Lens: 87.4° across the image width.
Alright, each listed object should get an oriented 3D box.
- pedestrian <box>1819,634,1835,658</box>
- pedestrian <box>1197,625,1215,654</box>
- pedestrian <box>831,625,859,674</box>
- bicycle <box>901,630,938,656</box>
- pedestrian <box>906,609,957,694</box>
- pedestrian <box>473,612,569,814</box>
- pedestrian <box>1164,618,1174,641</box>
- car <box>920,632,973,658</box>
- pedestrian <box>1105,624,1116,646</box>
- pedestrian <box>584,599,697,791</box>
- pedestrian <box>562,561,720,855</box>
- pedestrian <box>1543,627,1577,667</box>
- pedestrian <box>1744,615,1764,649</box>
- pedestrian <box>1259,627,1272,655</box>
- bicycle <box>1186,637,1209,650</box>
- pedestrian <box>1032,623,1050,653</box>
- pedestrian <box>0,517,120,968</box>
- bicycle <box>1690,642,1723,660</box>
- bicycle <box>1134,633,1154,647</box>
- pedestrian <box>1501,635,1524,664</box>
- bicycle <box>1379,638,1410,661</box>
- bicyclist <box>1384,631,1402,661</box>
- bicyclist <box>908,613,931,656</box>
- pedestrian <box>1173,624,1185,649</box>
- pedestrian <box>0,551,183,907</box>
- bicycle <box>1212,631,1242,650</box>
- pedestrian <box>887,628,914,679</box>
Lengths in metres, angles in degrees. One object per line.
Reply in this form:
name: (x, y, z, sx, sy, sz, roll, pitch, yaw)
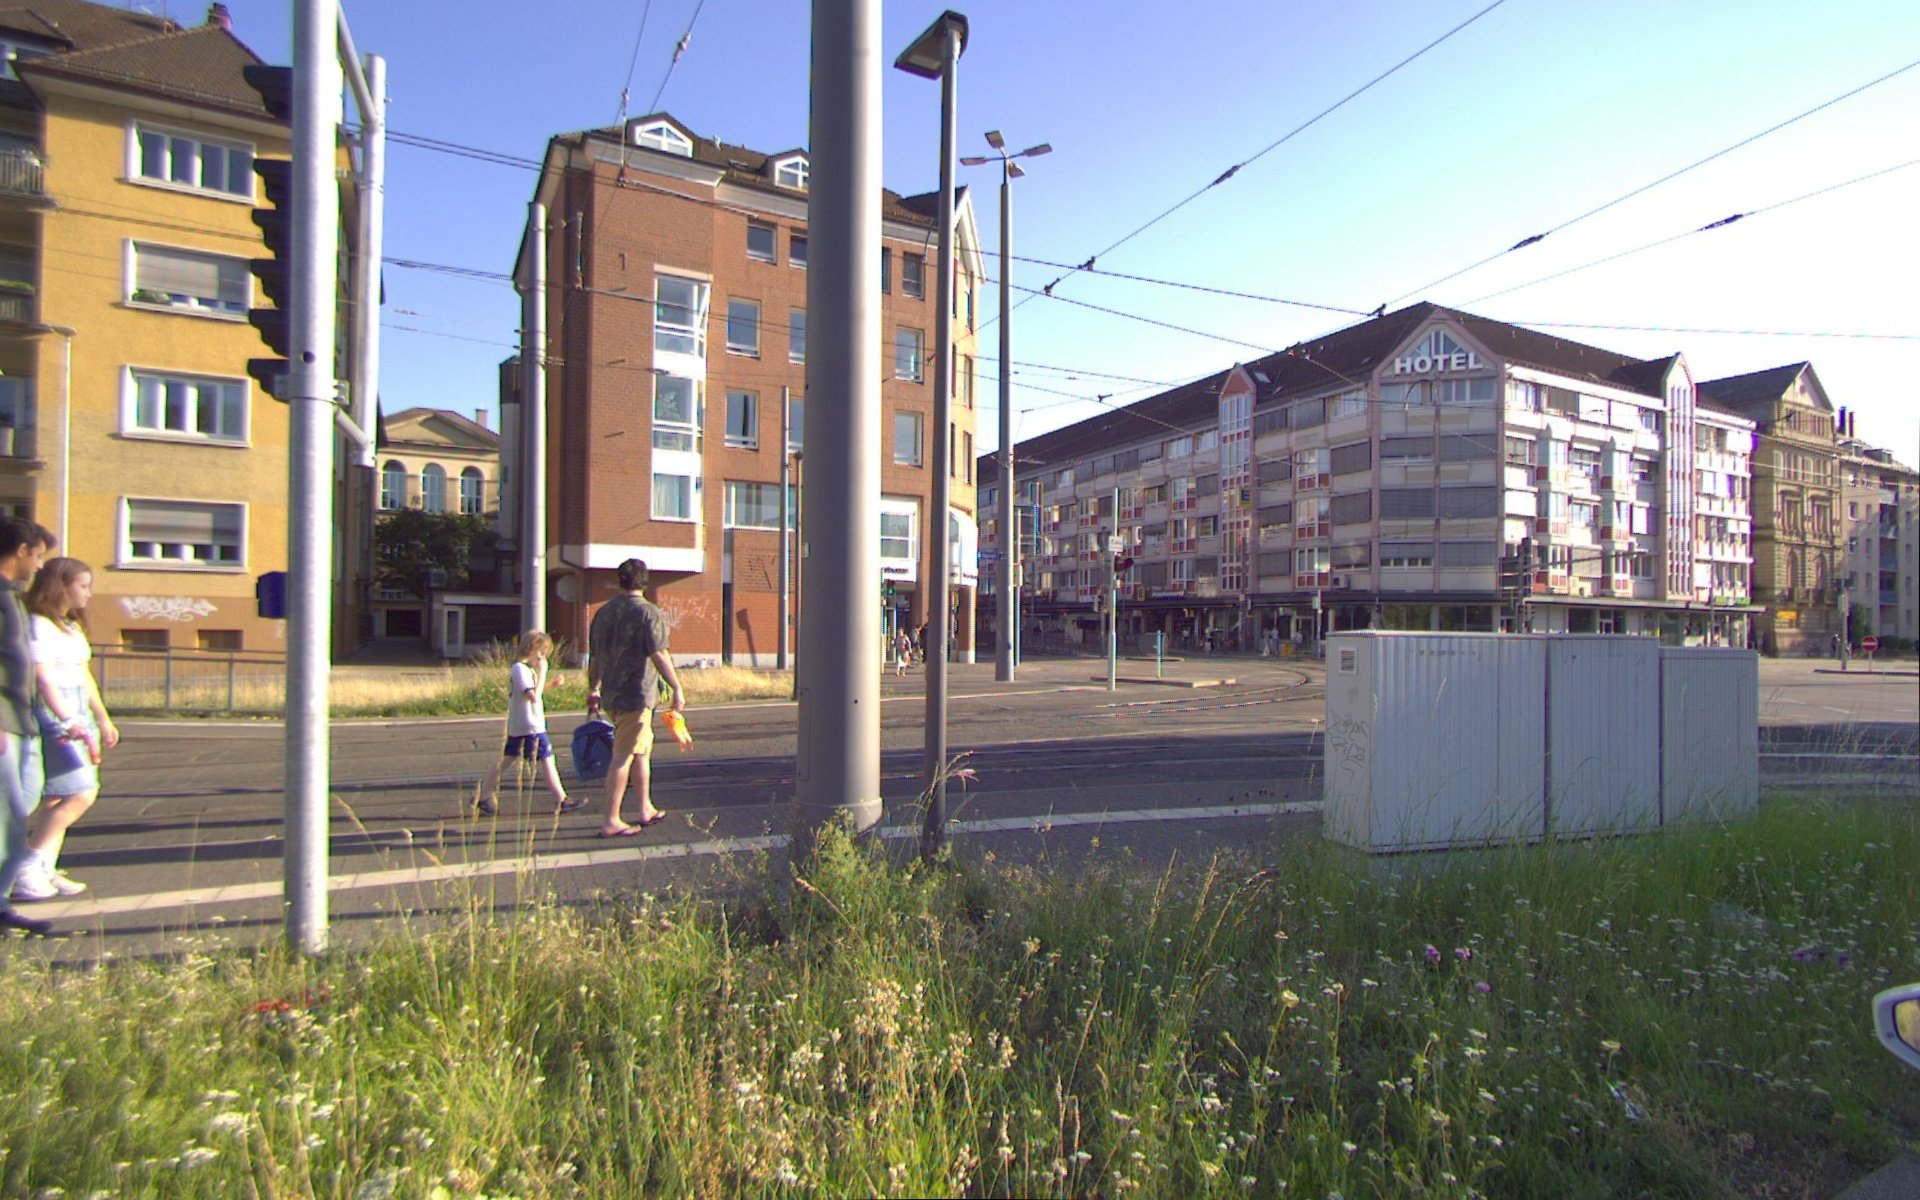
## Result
pedestrian: (62.799, 3.339, 72.744, 0.715, 1.717, 0.692, 2, 0, -30)
pedestrian: (14.640, 2.325, 59.790, 0.773, 1.682, 0.677, 2, 0, -35)
pedestrian: (-3.950, 1.695, 34.502, 0.828, 1.605, 0.681, 2, 0, -17)
bicycle: (-1.503, 1.616, 37.606, 1.351, 0.929, 0.430, 2, 0, -34)
pedestrian: (-0.617, 1.111, 21.984, 0.824, 1.781, 0.687, 2, 0, -44)
pedestrian: (-3.196, 0.800, 7.303, 0.600, 1.377, 0.593, 1, -4, -26)
pedestrian: (16.044, 2.260, 76.975, 0.599, 1.656, 0.604, 1, -5, -3)
car: (-0.832, 2.576, 57.522, 1.725, 1.261, 3.916, 2, 0, -22)
pedestrian: (12.564, 2.887, 83.850, 0.804, 1.802, 0.680, 2, 0, 0)
pedestrian: (-2.837, 0.810, 8.925, 0.781, 1.609, 0.602, 2, 0, -35)
pedestrian: (-2.102, 0.662, 6.597, 0.887, 1.781, 0.772, 2, 0, -21)
pedestrian: (31.502, 2.476, 52.745, 0.847, 1.909, 1.187, -11, 7, -33)
pedestrian: (57.797, 2.310, 73.108, 0.953, 2.430, 0.918, 2, 0, -40)
pedestrian: (19.481, 2.601, 64.014, 0.612, 1.717, 0.866, 2, 0, 29)
bicycle: (17.096, 3.118, 72.268, 0.494, 0.929, 2.066, 2, -2, -24)
pedestrian: (4.770, 2.231, 59.083, 0.771, 1.682, 0.679, 2, 0, -27)
pedestrian: (-4.300, 0.560, 4.272, 0.889, 1.825, 0.782, 3, -1, -29)
bicycle: (48.496, 3.303, 65.269, 2.056, 1.085, 0.451, 2, 0, -13)
bicycle: (14.638, 3.183, 79.839, 1.630, 1.134, 0.480, 2, 0, -30)
pedestrian: (29.054, 2.619, 52.839, 0.847, 1.472, 0.700, 2, 0, -34)
bicycle: (24.205, 2.763, 55.968, 1.746, 1.160, 0.636, -1, 1, -27)
bicyclist: (24.080, 2.536, 55.899, 0.649, 1.618, 0.636, -1, 1, -26)
bicyclist: (-1.516, 1.284, 37.590, 0.722, 1.564, 0.430, 2, 0, -34)
pedestrian: (16.677, 2.753, 76.421, 0.601, 1.877, 0.601, 2, 0, -20)
pedestrian: (-4.565, 0.601, 5.077, 0.890, 1.662, 0.781, 2, 0, -32)
bicycle: (18.465, 2.798, 69.584, 0.720, 1.243, 2.319, 2, -2, -24)
pedestrian: (-1.935, 1.719, 32.635, 0.825, 1.605, 0.683, 2, 0, -3)
